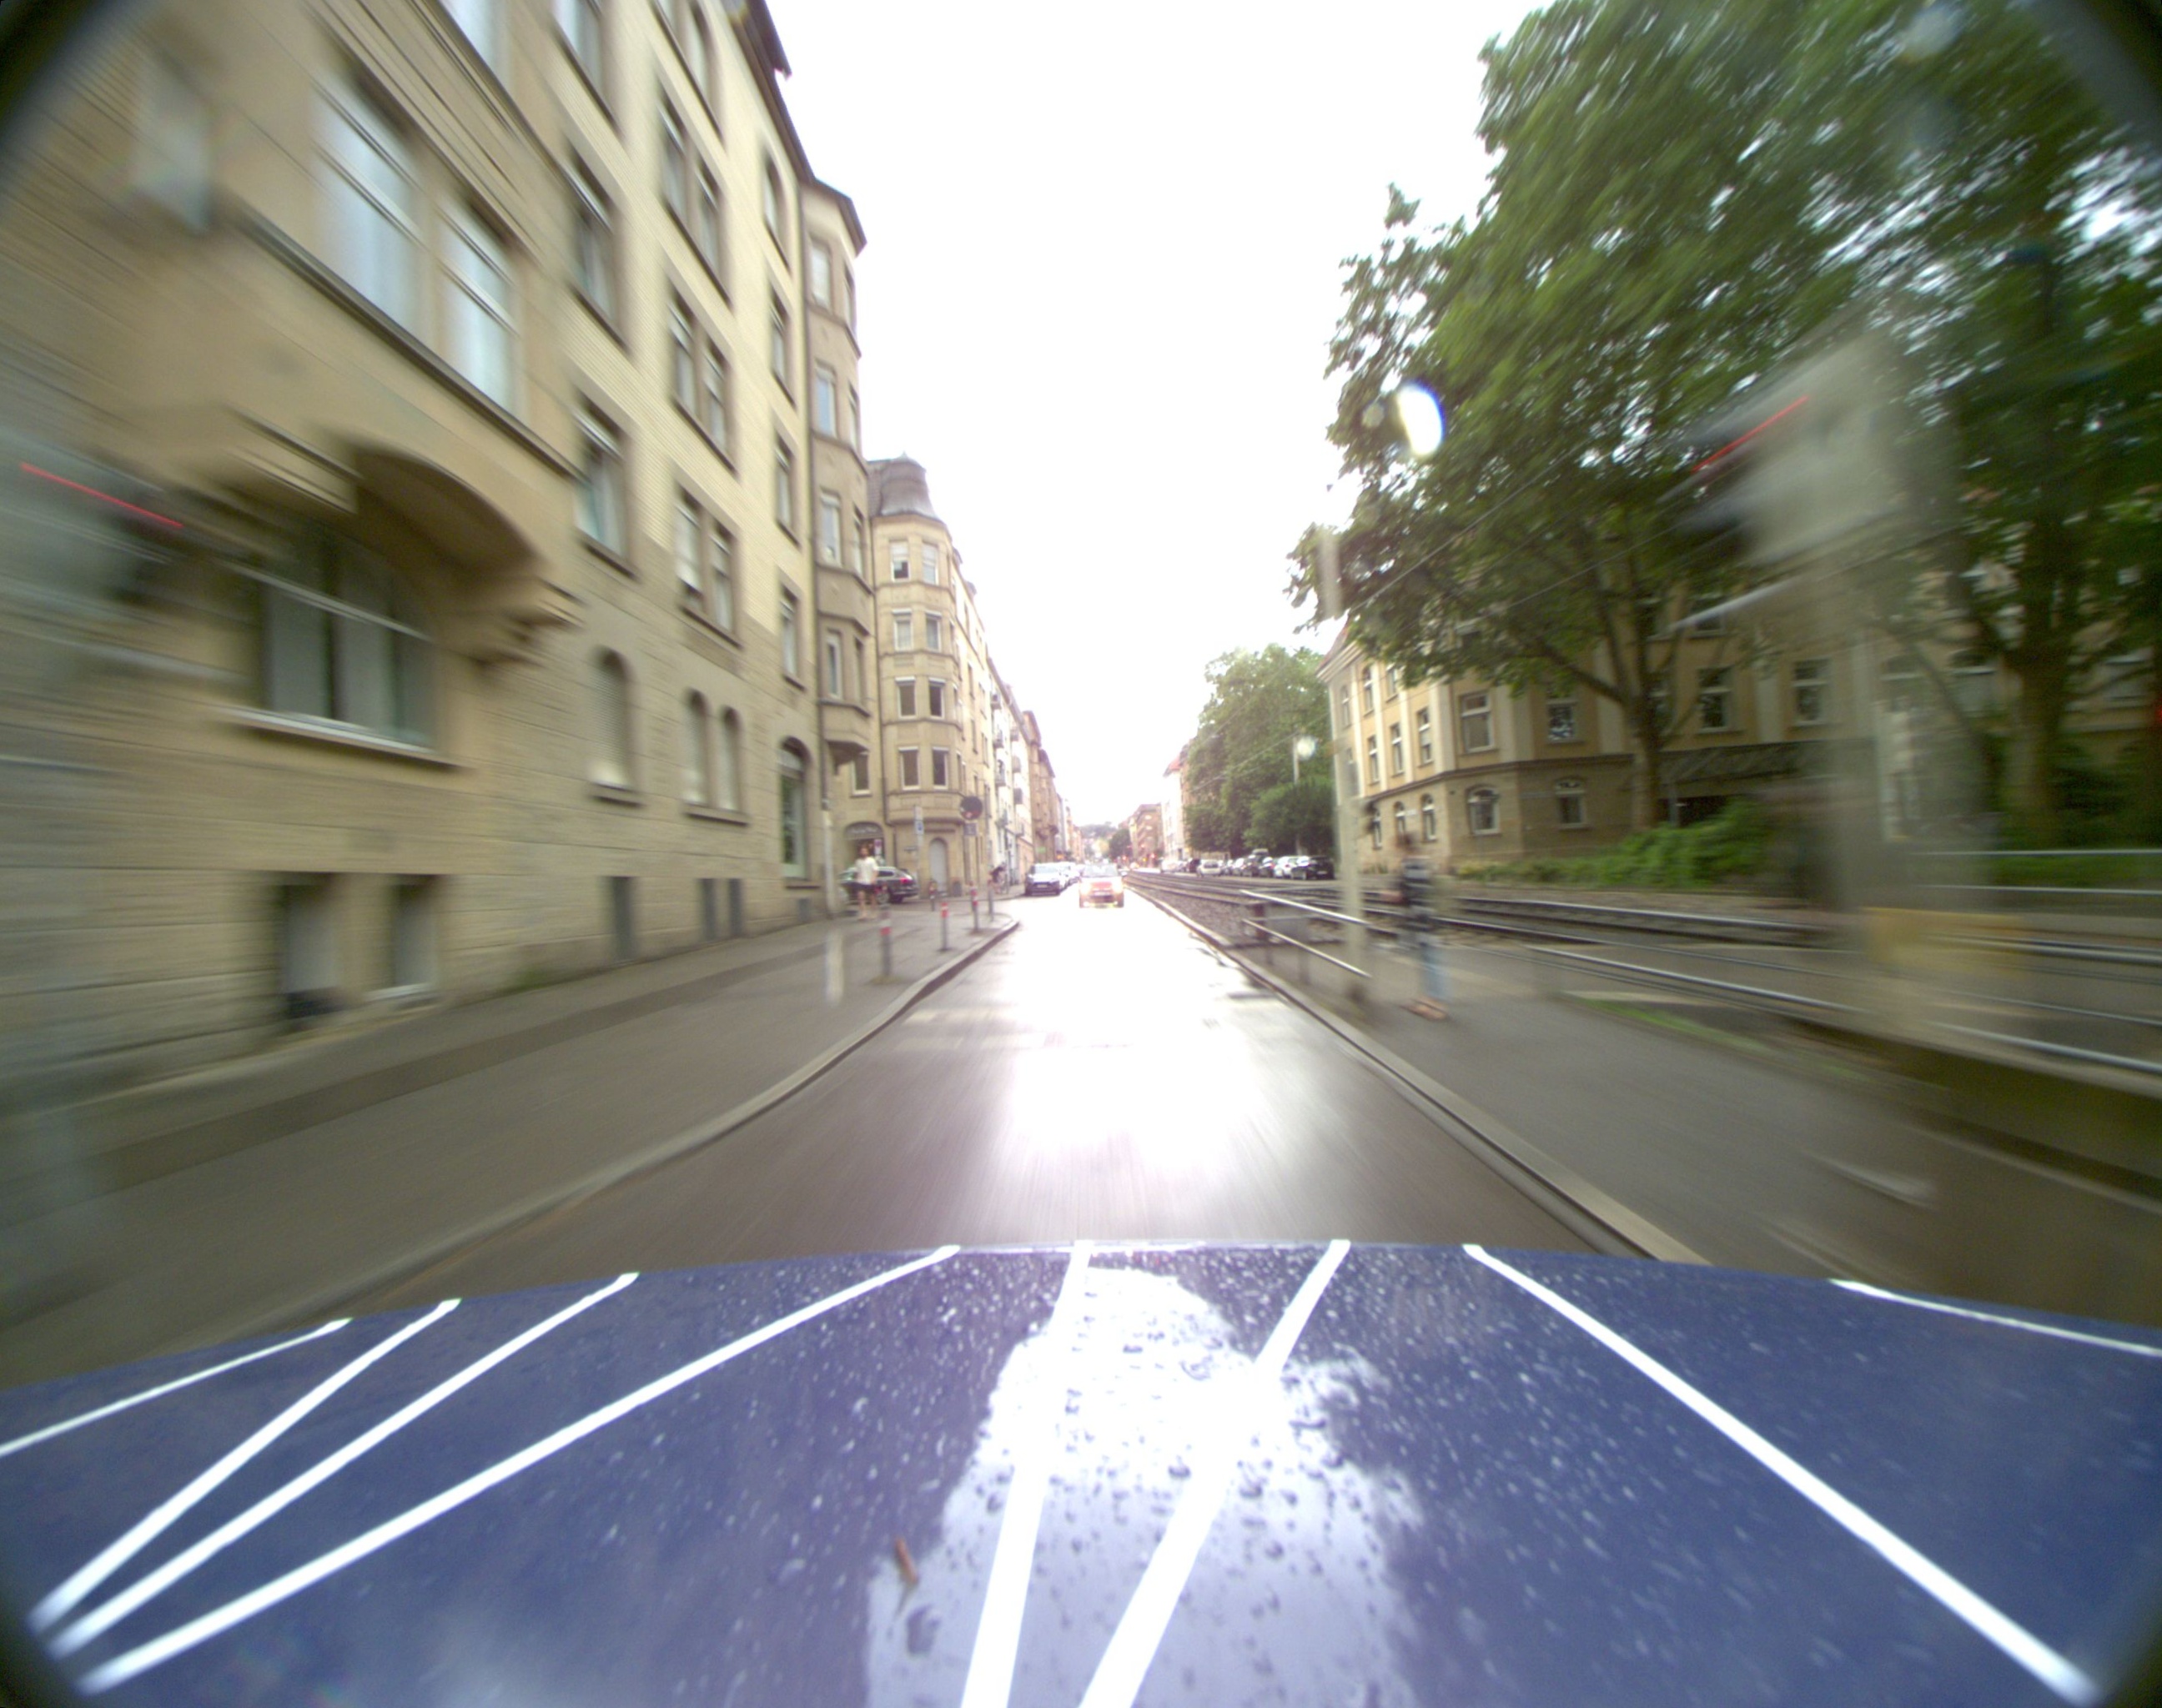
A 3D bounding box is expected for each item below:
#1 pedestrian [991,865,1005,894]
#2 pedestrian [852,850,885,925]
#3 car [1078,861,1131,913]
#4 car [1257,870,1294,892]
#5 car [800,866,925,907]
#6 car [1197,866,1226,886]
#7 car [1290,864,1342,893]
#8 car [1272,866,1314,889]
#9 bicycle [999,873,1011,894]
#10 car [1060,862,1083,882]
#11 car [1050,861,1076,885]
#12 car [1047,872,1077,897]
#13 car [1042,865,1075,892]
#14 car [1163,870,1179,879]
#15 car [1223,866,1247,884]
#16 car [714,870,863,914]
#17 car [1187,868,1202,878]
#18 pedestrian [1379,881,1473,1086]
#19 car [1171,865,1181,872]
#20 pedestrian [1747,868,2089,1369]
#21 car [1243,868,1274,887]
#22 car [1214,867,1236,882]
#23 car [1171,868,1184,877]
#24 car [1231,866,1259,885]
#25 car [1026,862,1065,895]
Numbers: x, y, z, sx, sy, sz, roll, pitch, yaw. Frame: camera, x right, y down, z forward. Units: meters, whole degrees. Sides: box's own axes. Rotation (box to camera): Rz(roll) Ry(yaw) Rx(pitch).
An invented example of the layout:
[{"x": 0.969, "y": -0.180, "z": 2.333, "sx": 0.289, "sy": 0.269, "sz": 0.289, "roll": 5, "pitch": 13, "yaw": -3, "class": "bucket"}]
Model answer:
[{"x": -4.083, "y": 1.256, "z": 37.428, "sx": 0.510, "sy": 1.363, "sz": 0.404, "roll": -2, "pitch": 0, "yaw": -25, "class": "pedestrian"}, {"x": -5.082, "y": 0.795, "z": 18.178, "sx": 0.580, "sy": 1.741, "sz": 0.574, "roll": -2, "pitch": -1, "yaw": 2, "class": "pedestrian"}, {"x": 0.794, "y": 1.087, "z": 26.342, "sx": 1.620, "sy": 1.592, "sz": 4.067, "roll": -2, "pitch": -1, "yaw": 1, "class": "car"}, {"x": 13.803, "y": 1.875, "z": 54.043, "sx": 1.646, "sy": 1.392, "sz": 3.517, "roll": -3, "pitch": -1, "yaw": 0, "class": "car"}, {"x": -8.845, "y": 1.324, "z": 30.965, "sx": 4.506, "sy": 1.490, "sz": 1.780, "roll": -2, "pitch": -3, "yaw": 3, "class": "car"}, {"x": 11.241, "y": 1.878, "z": 65.731, "sx": 1.687, "sy": 1.468, "sz": 3.311, "roll": -4, "pitch": 0, "yaw": -3, "class": "car"}, {"x": 13.796, "y": 1.404, "z": 44.819, "sx": 1.891, "sy": 1.468, "sz": 3.807, "roll": -4, "pitch": 0, "yaw": 2, "class": "car"}, {"x": 13.708, "y": 1.498, "z": 49.316, "sx": 1.646, "sy": 1.392, "sz": 3.517, "roll": -3, "pitch": -1, "yaw": 0, "class": "car"}, {"x": -3.762, "y": 1.458, "z": 37.583, "sx": 0.339, "sy": 1.008, "sz": 1.676, "roll": 0, "pitch": -1, "yaw": 2, "class": "bicycle"}, {"x": -0.813, "y": 1.572, "z": 66.522, "sx": 1.745, "sy": 1.649, "sz": 4.001, "roll": -2, "pitch": -1, "yaw": 1, "class": "car"}, {"x": -1.348, "y": 1.418, "z": 57.913, "sx": 1.745, "sy": 1.729, "sz": 4.001, "roll": -2, "pitch": -1, "yaw": 1, "class": "car"}, {"x": -1.214, "y": 2.034, "z": 50.966, "sx": 1.745, "sy": 1.507, "sz": 4.001, "roll": -2, "pitch": -1, "yaw": 1, "class": "car"}, {"x": -1.326, "y": 1.489, "z": 46.696, "sx": 1.745, "sy": 1.507, "sz": 4.001, "roll": -2, "pitch": -1, "yaw": 1, "class": "car"}, {"x": 11.754, "y": 2.673, "z": 99.552, "sx": 1.571, "sy": 1.159, "sz": 2.909, "roll": -3, "pitch": -1, "yaw": -2, "class": "car"}, {"x": 13.951, "y": 1.869, "z": 68.921, "sx": 1.402, "sy": 1.499, "sz": 3.314, "roll": -3, "pitch": -1, "yaw": -2, "class": "car"}, {"x": -9.566, "y": 1.221, "z": 25.055, "sx": 4.214, "sy": 1.360, "sz": 1.798, "roll": -1, "pitch": -1, "yaw": 3, "class": "car"}, {"x": 14.280, "y": 2.377, "z": 95.962, "sx": 1.326, "sy": 1.159, "sz": 2.910, "roll": -3, "pitch": -1, "yaw": -1, "class": "car"}, {"x": 2.930, "y": 1.064, "z": 6.460, "sx": 0.434, "sy": 1.629, "sz": 0.480, "roll": -3, "pitch": 0, "yaw": -32, "class": "pedestrian"}, {"x": 15.573, "y": 2.383, "z": 124.637, "sx": 1.326, "sy": 1.159, "sz": 2.910, "roll": -3, "pitch": -1, "yaw": -1, "class": "car"}, {"x": 3.240, "y": 0.931, "z": 3.029, "sx": 0.651, "sy": 1.694, "sz": 0.662, "roll": -3, "pitch": 1, "yaw": 24, "class": "pedestrian"}, {"x": 13.798, "y": 1.795, "z": 59.121, "sx": 1.484, "sy": 1.392, "sz": 3.282, "roll": -3, "pitch": -1, "yaw": -1, "class": "car"}, {"x": 13.939, "y": 1.961, "z": 73.623, "sx": 1.402, "sy": 1.371, "sz": 3.314, "roll": -3, "pitch": -1, "yaw": -2, "class": "car"}, {"x": 13.796, "y": 2.600, "z": 108.919, "sx": 1.326, "sy": 1.159, "sz": 2.910, "roll": -3, "pitch": -1, "yaw": -1, "class": "car"}, {"x": 13.789, "y": 1.810, "z": 64.009, "sx": 1.484, "sy": 1.440, "sz": 3.500, "roll": -3, "pitch": -1, "yaw": -1, "class": "car"}, {"x": -1.811, "y": 1.242, "z": 39.846, "sx": 1.745, "sy": 1.576, "sz": 4.000, "roll": -2, "pitch": -1, "yaw": 0, "class": "car"}]
